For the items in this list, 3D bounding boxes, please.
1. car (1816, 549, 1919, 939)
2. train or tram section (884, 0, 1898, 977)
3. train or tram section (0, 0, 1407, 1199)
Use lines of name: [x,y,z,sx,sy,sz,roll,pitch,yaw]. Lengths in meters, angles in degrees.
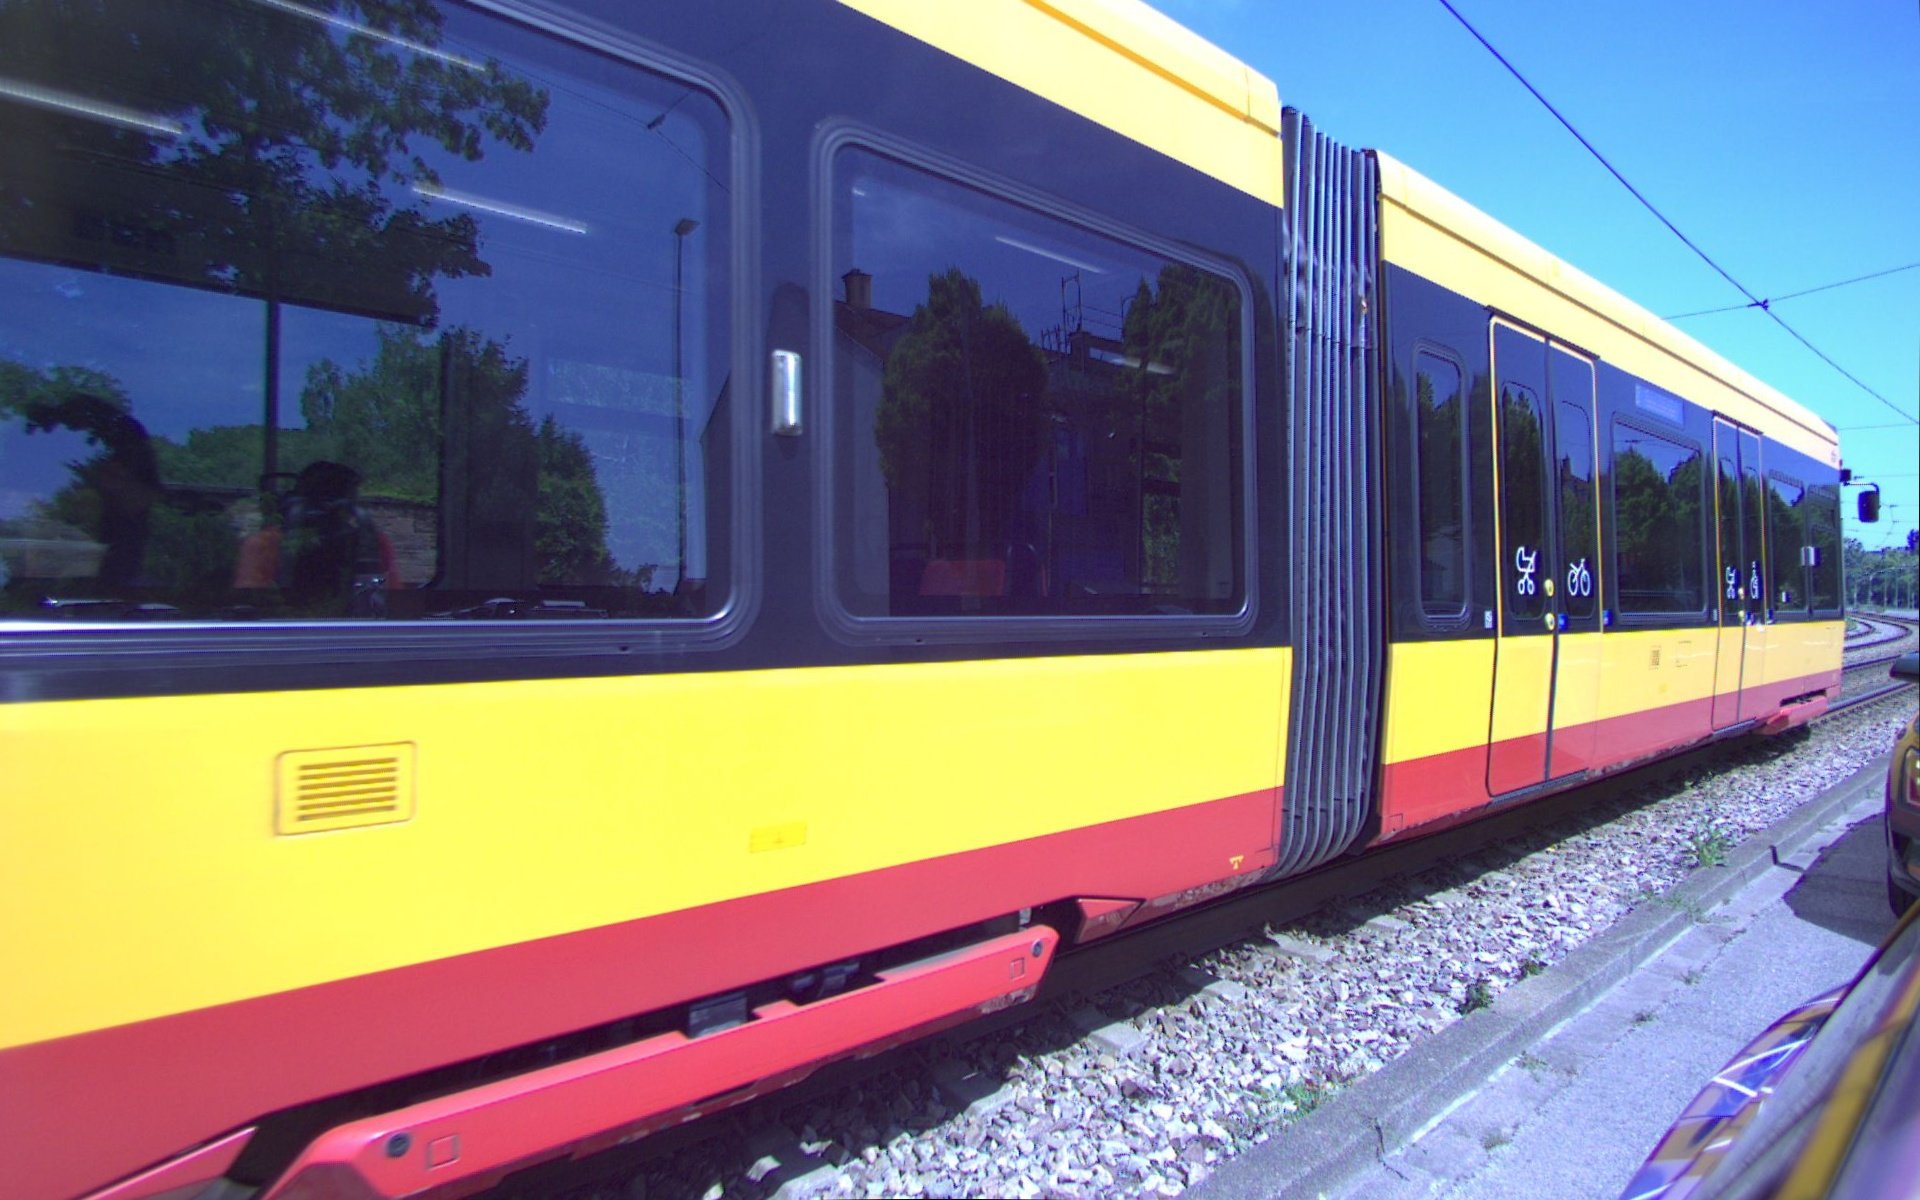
car: [5.834,0.571,4.719,3.927,1.563,2.062,0,-1,-38]
train or tram section: [5.259,-0.442,8.834,12.641,3.656,2.746,0,-1,-40]
train or tram section: [-3.185,-0.547,1.685,10.755,3.656,2.746,0,-1,-40]
